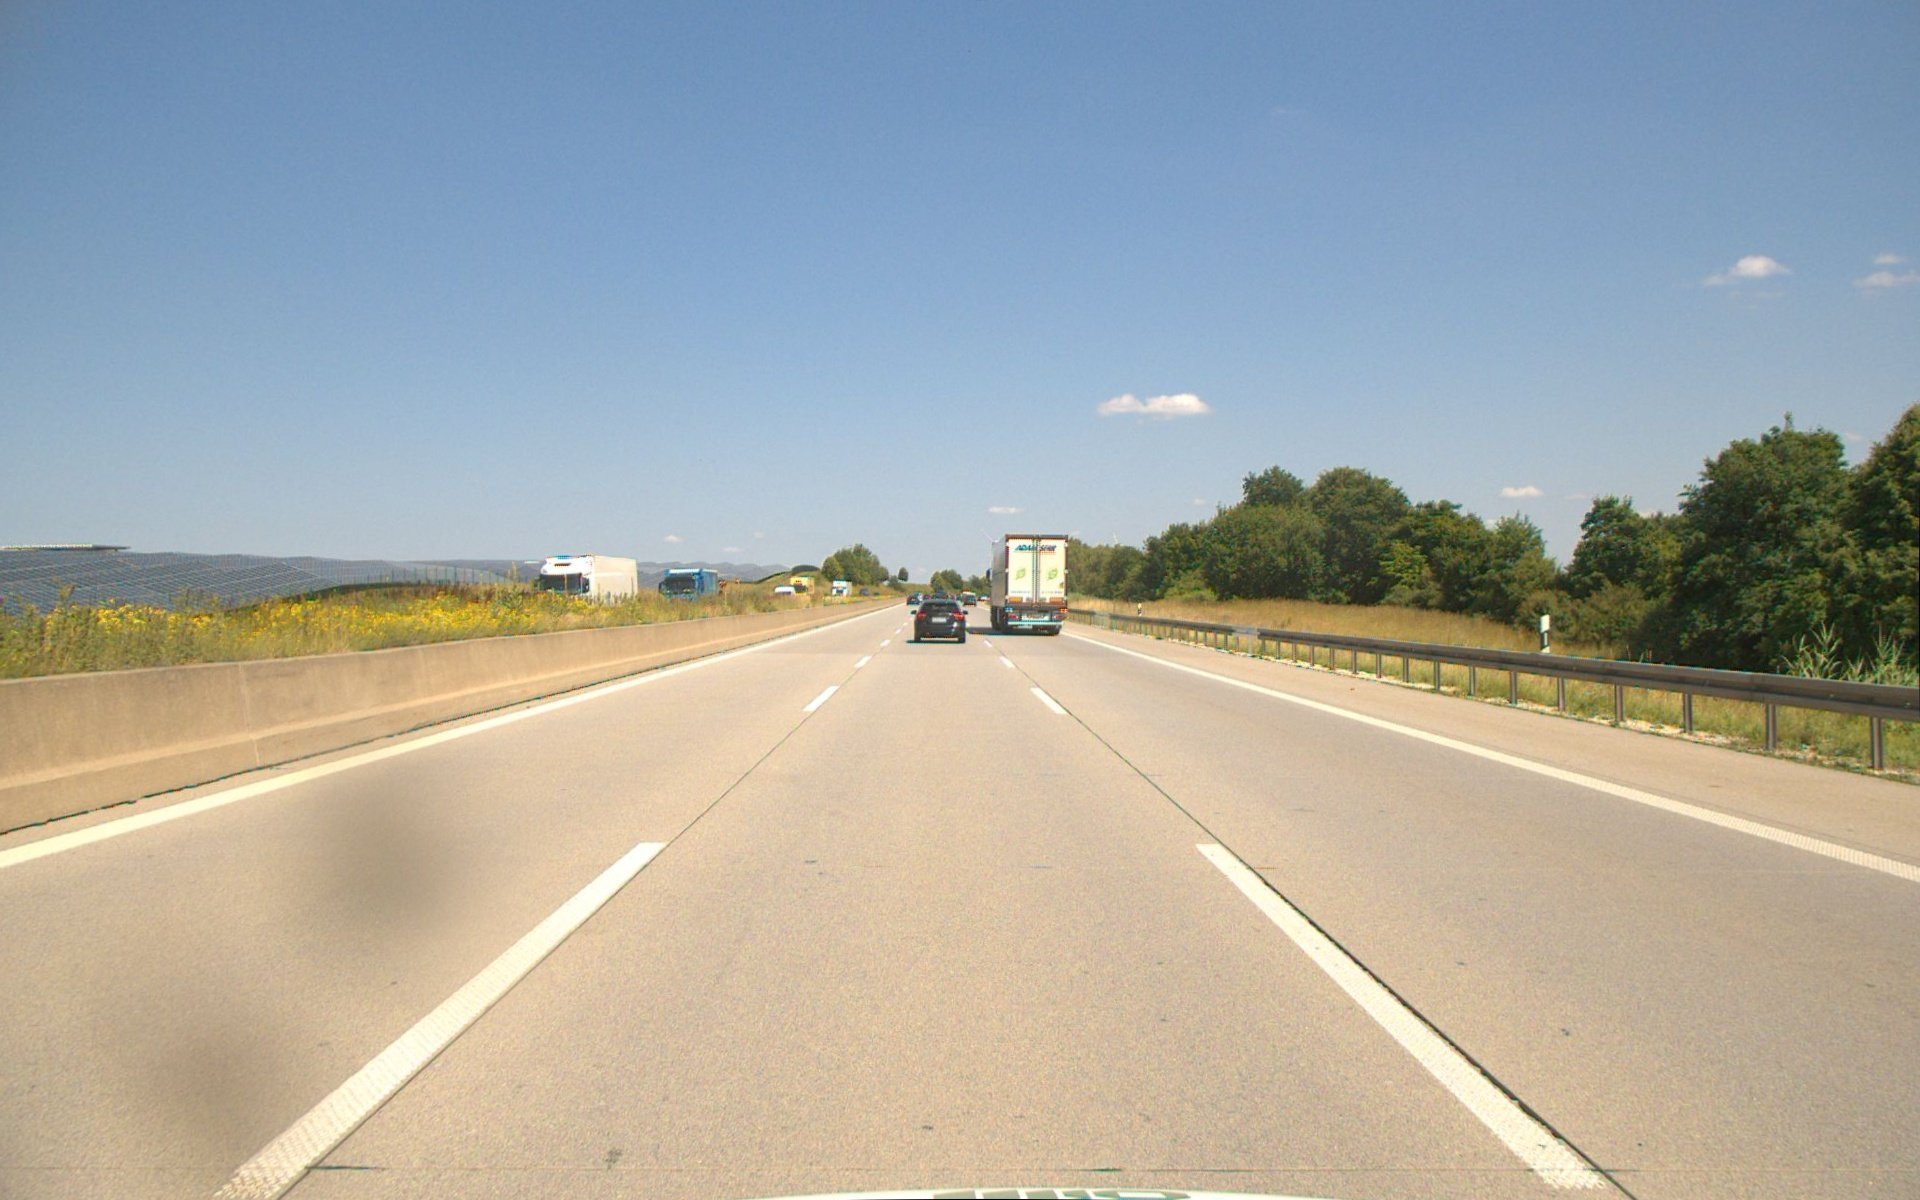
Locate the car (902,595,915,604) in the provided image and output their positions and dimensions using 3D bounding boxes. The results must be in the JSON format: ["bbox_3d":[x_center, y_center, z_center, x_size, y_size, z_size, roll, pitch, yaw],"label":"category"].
[{"bbox_3d":[-7.167,-0.045,231.326,1.622,1.217,3.959,3,0,-1],"label":"car"}]

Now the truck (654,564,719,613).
[{"bbox_3d":[-18.205,-0.701,110.832,2.767,3.117,10.372,1,0,-1],"label":"truck"}]

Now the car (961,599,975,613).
[{"bbox_3d":[1.137,0.873,230.798,1.790,1.940,3.999,1,0,-1],"label":"car"}]

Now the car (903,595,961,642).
[{"bbox_3d":[-0.957,0.603,56.474,1.872,1.518,4.191,1,0,-1],"label":"car"}]

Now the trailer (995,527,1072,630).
[{"bbox_3d":[3.086,-0.870,72.996,2.794,4.113,12.712,1,0,0],"label":"trailer"}]

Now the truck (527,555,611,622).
[{"bbox_3d":[-21.612,-0.598,91.783,3.059,3.548,6.884,1,0,-1],"label":"truck"}]
